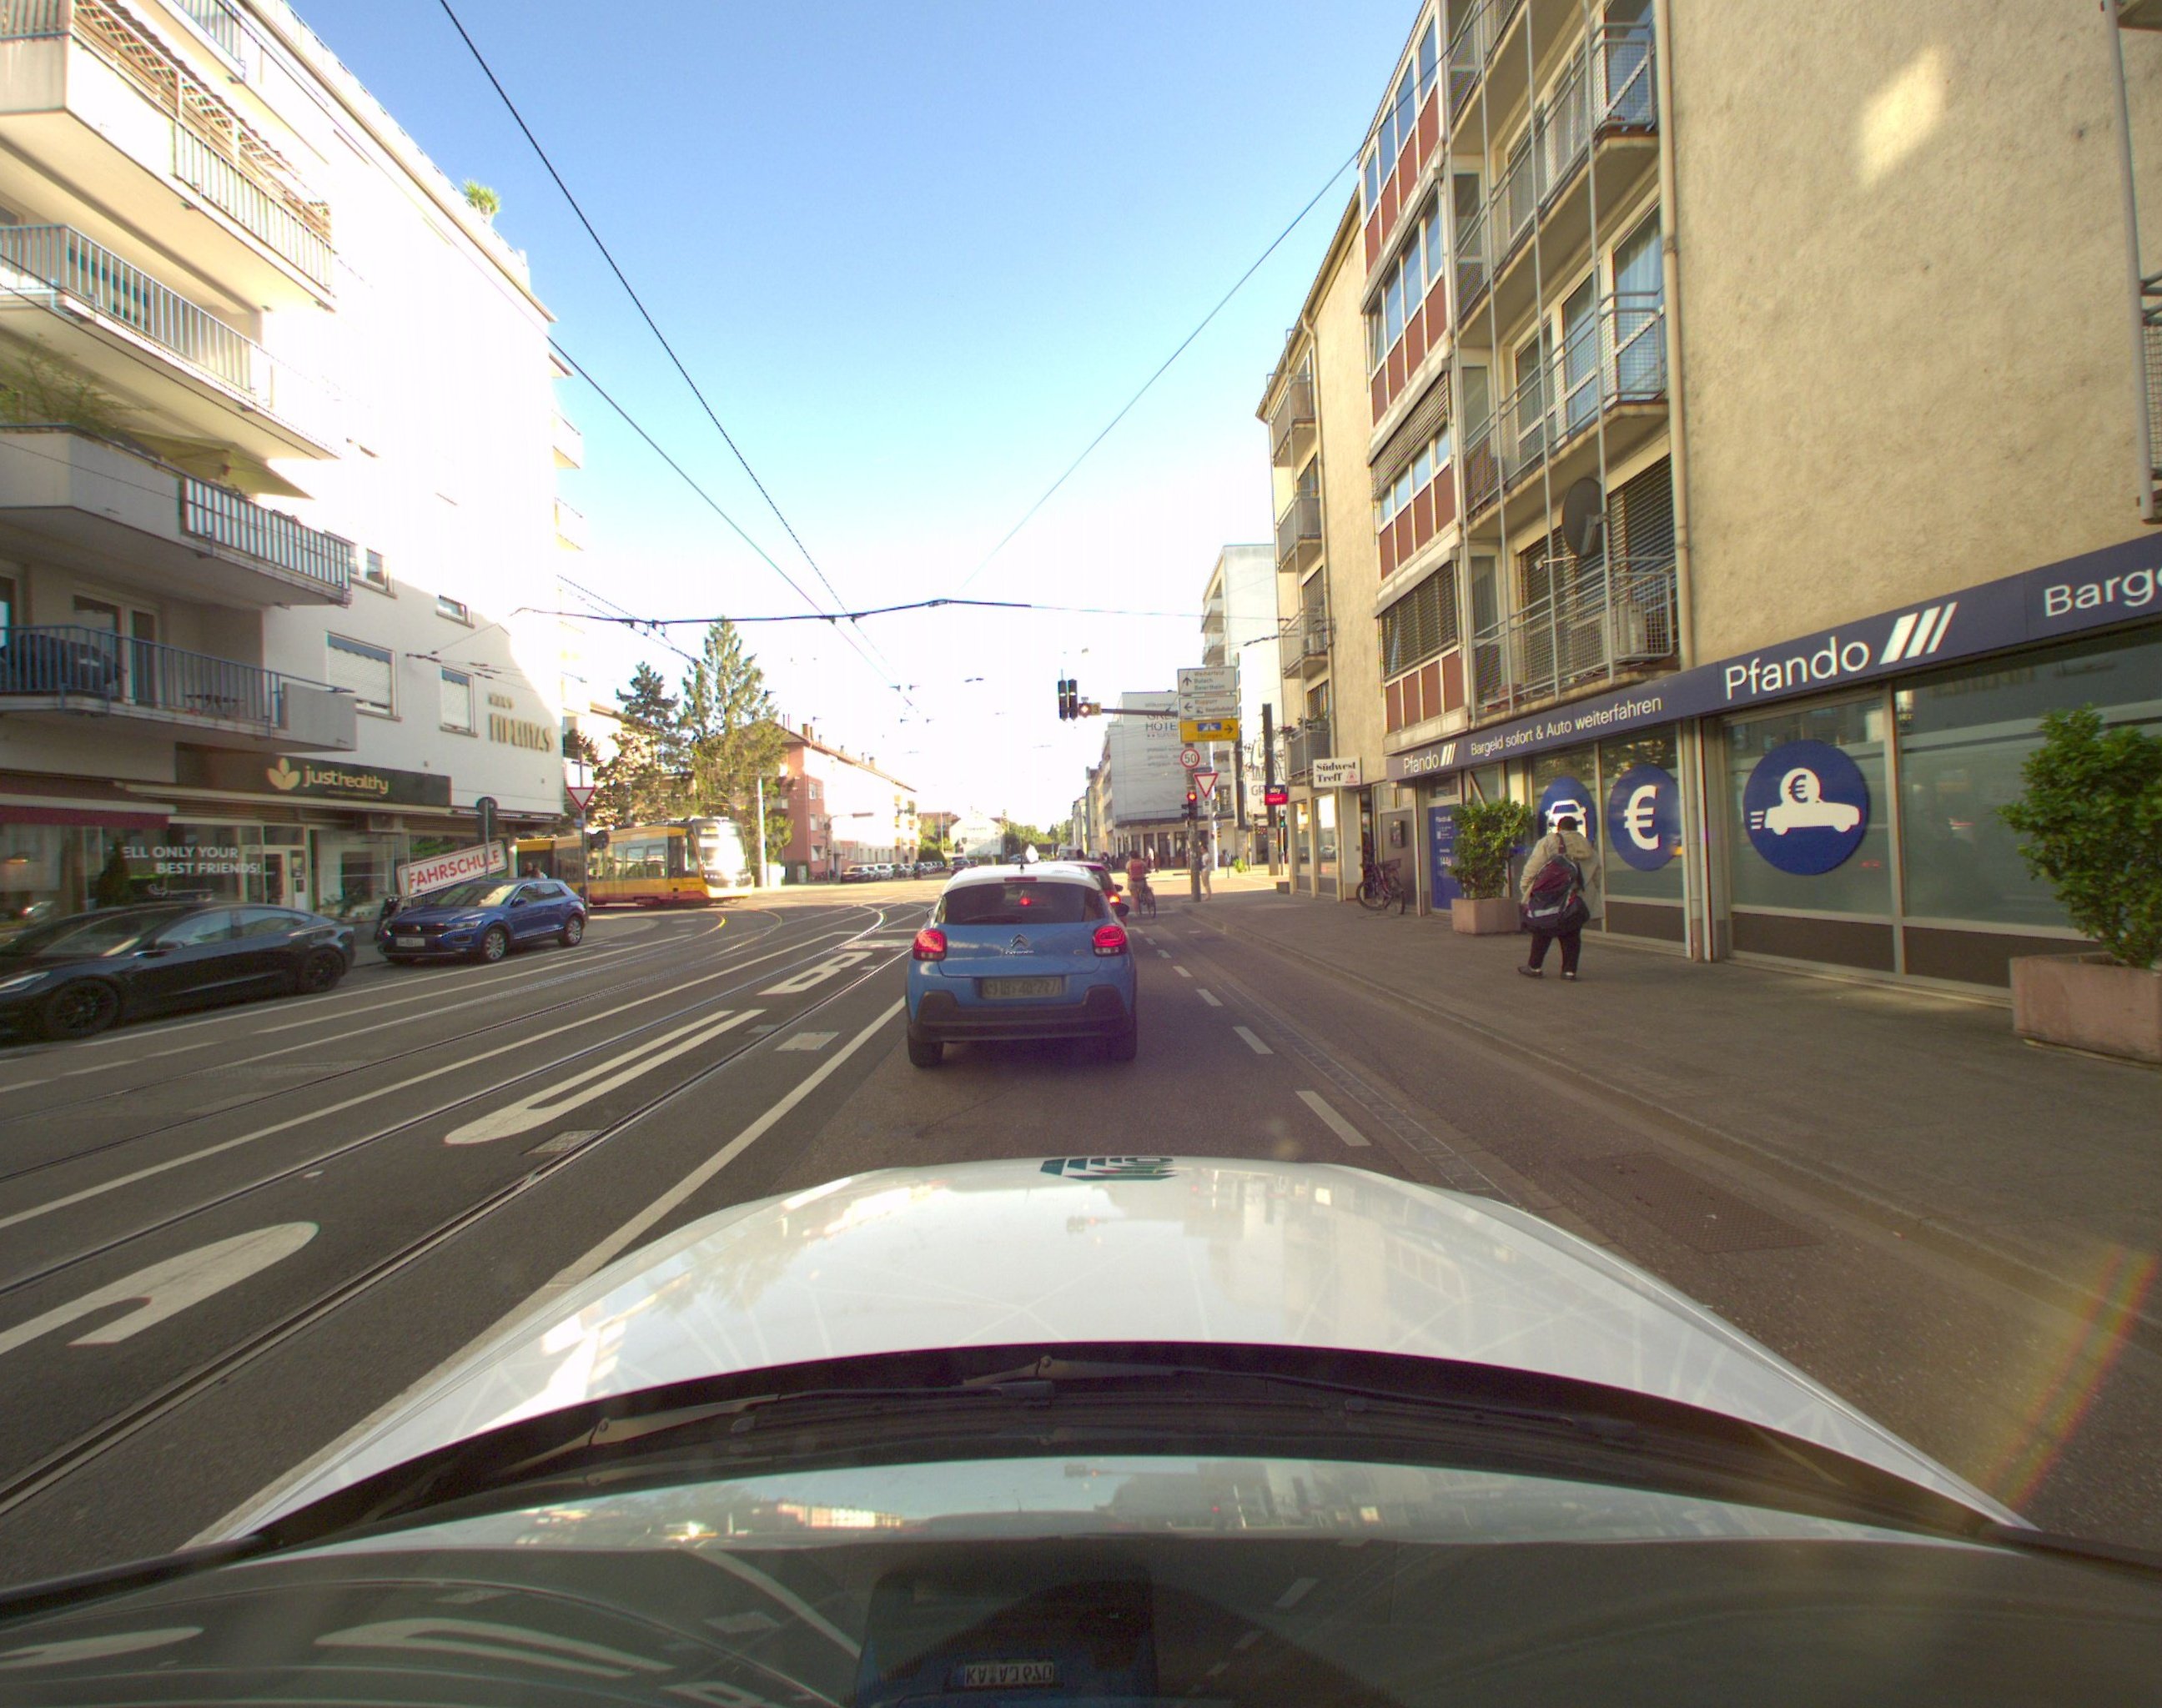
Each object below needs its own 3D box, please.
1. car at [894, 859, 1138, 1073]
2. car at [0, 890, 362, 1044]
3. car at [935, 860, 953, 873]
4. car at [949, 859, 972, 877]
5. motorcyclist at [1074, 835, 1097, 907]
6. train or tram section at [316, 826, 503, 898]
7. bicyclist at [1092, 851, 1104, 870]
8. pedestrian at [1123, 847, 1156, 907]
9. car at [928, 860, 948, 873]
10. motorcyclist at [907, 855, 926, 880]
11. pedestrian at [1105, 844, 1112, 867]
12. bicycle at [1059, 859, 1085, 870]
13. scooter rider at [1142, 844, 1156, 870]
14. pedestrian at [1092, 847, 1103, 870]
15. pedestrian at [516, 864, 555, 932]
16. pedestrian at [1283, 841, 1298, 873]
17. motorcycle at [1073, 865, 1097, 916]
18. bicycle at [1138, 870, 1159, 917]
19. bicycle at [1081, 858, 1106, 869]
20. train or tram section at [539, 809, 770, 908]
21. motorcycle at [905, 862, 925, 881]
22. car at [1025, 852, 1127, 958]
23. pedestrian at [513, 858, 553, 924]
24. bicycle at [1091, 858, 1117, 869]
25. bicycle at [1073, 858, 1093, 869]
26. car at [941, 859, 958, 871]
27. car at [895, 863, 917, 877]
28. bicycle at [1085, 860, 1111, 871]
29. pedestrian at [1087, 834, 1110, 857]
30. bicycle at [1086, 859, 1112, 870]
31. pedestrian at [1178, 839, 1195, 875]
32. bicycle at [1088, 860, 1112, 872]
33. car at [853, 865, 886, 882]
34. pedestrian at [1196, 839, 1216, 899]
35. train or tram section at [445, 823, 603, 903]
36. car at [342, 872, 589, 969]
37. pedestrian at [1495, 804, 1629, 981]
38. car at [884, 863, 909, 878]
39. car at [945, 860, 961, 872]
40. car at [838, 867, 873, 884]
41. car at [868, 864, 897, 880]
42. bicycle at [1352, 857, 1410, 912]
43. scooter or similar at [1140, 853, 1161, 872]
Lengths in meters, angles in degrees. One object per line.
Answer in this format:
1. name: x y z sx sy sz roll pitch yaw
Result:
1. car: -0.387 0.778 7.296 1.648 1.444 3.524 0 -1 2
2. car: -12.088 1.295 10.448 1.816 1.387 4.425 -2 0 -2
3. car: -18.855 1.673 111.956 1.877 1.687 3.998 0 -1 -1
4. car: -11.340 1.337 76.862 1.770 1.666 3.854 0 -1 -2
5. motorcyclist: 0.122 0.404 19.756 0.524 1.716 0.717 0 -1 1
6. train or tram section: -37.791 0.463 45.561 14.085 3.632 2.770 -1 -1 28
7. bicyclist: 1.291 0.518 62.851 0.739 1.477 0.565 -1 -1 19
8. pedestrian: 1.460 0.564 20.326 0.774 1.460 0.682 0 -1 1
9. car: -18.706 1.666 106.905 1.978 1.687 3.998 0 -1 -1
10. motorcyclist: -13.638 1.120 67.587 1.182 2.013 1.275 -2 0 -1
11. pedestrian: 2.369 0.140 70.253 0.575 2.014 0.625 0 -1 -1
12. bicycle: -0.716 0.874 66.454 2.130 0.901 0.366 0 -1 -7
13. scooter rider: 4.886 0.221 58.402 0.716 1.832 0.721 -3 -1 21
14. pedestrian: 1.413 0.388 69.258 0.635 2.014 0.717 0 -1 -34
15. pedestrian: -14.788 1.191 22.076 0.569 1.805 0.699 0 -1 1
16. pedestrian: 10.846 0.157 42.092 0.730 1.601 0.751 -1 -1 15
17. motorcycle: 0.115 0.837 19.565 0.524 1.139 2.290 0 -1 2
18. bicycle: 1.693 0.977 20.722 0.426 1.123 1.999 0 -1 2
19. bicycle: 1.057 0.816 68.424 2.130 0.901 0.366 0 -1 -7
20. train or tram section: -18.349 0.327 34.395 12.466 3.593 3.092 -3 1 35
21. motorcycle: -13.682 1.400 67.352 0.921 1.486 3.724 0 -1 -1
22. car: -0.027 0.755 13.267 1.419 1.467 2.925 -2 -1 2
23. pedestrian: -17.204 1.151 25.579 0.767 2.014 0.694 0 -1 -4
24. bicycle: 1.864 0.767 66.167 2.130 0.901 0.366 0 -1 -7
25. bicycle: 0.159 0.820 69.612 1.765 0.901 0.369 -1 -1 36
26. car: -18.929 1.540 117.339 1.828 1.687 3.998 0 -1 -1
27. car: -19.889 1.842 92.731 1.728 1.498 3.996 0 0 -2
28. bicycle: 1.431 0.920 67.666 2.130 0.901 0.366 0 -1 -7
29. pedestrian: 1.630 -0.731 73.697 1.986 2.014 4.001 0 -1 2
30. bicycle: 1.477 0.864 67.230 2.130 0.901 0.366 0 -1 -7
31. pedestrian: 6.088 0.171 46.964 0.922 2.014 0.760 0 -1 1
32. bicycle: 1.479 0.930 62.798 1.837 0.903 0.352 -1 -1 21
33. car: -19.435 1.786 74.981 1.808 1.498 4.302 0 0 2
34. pedestrian: 3.752 0.442 24.448 0.515 1.783 0.595 0 -1 0
35. train or tram section: -27.521 0.446 40.084 8.967 3.631 2.852 -1 -1 30
36. car: -11.961 1.200 16.245 1.864 1.531 4.068 -2 0 -2
37. pedestrian: 4.536 0.347 7.729 0.822 1.593 0.751 0 -1 1
38. car: -19.600 1.707 86.755 1.781 1.498 3.998 0 0 -1
39. car: -19.154 1.754 121.900 1.841 1.687 3.872 0 -1 -1
40. car: -19.186 1.809 69.427 1.787 1.421 3.996 0 0 1
41. car: -19.459 1.739 80.033 1.781 1.511 4.150 0 0 1
42. bicycle: 5.752 0.568 15.698 0.540 0.998 1.706 0 -1 2
43. scooter or similar: 4.971 0.620 58.379 1.338 1.269 0.446 -4 -1 21
